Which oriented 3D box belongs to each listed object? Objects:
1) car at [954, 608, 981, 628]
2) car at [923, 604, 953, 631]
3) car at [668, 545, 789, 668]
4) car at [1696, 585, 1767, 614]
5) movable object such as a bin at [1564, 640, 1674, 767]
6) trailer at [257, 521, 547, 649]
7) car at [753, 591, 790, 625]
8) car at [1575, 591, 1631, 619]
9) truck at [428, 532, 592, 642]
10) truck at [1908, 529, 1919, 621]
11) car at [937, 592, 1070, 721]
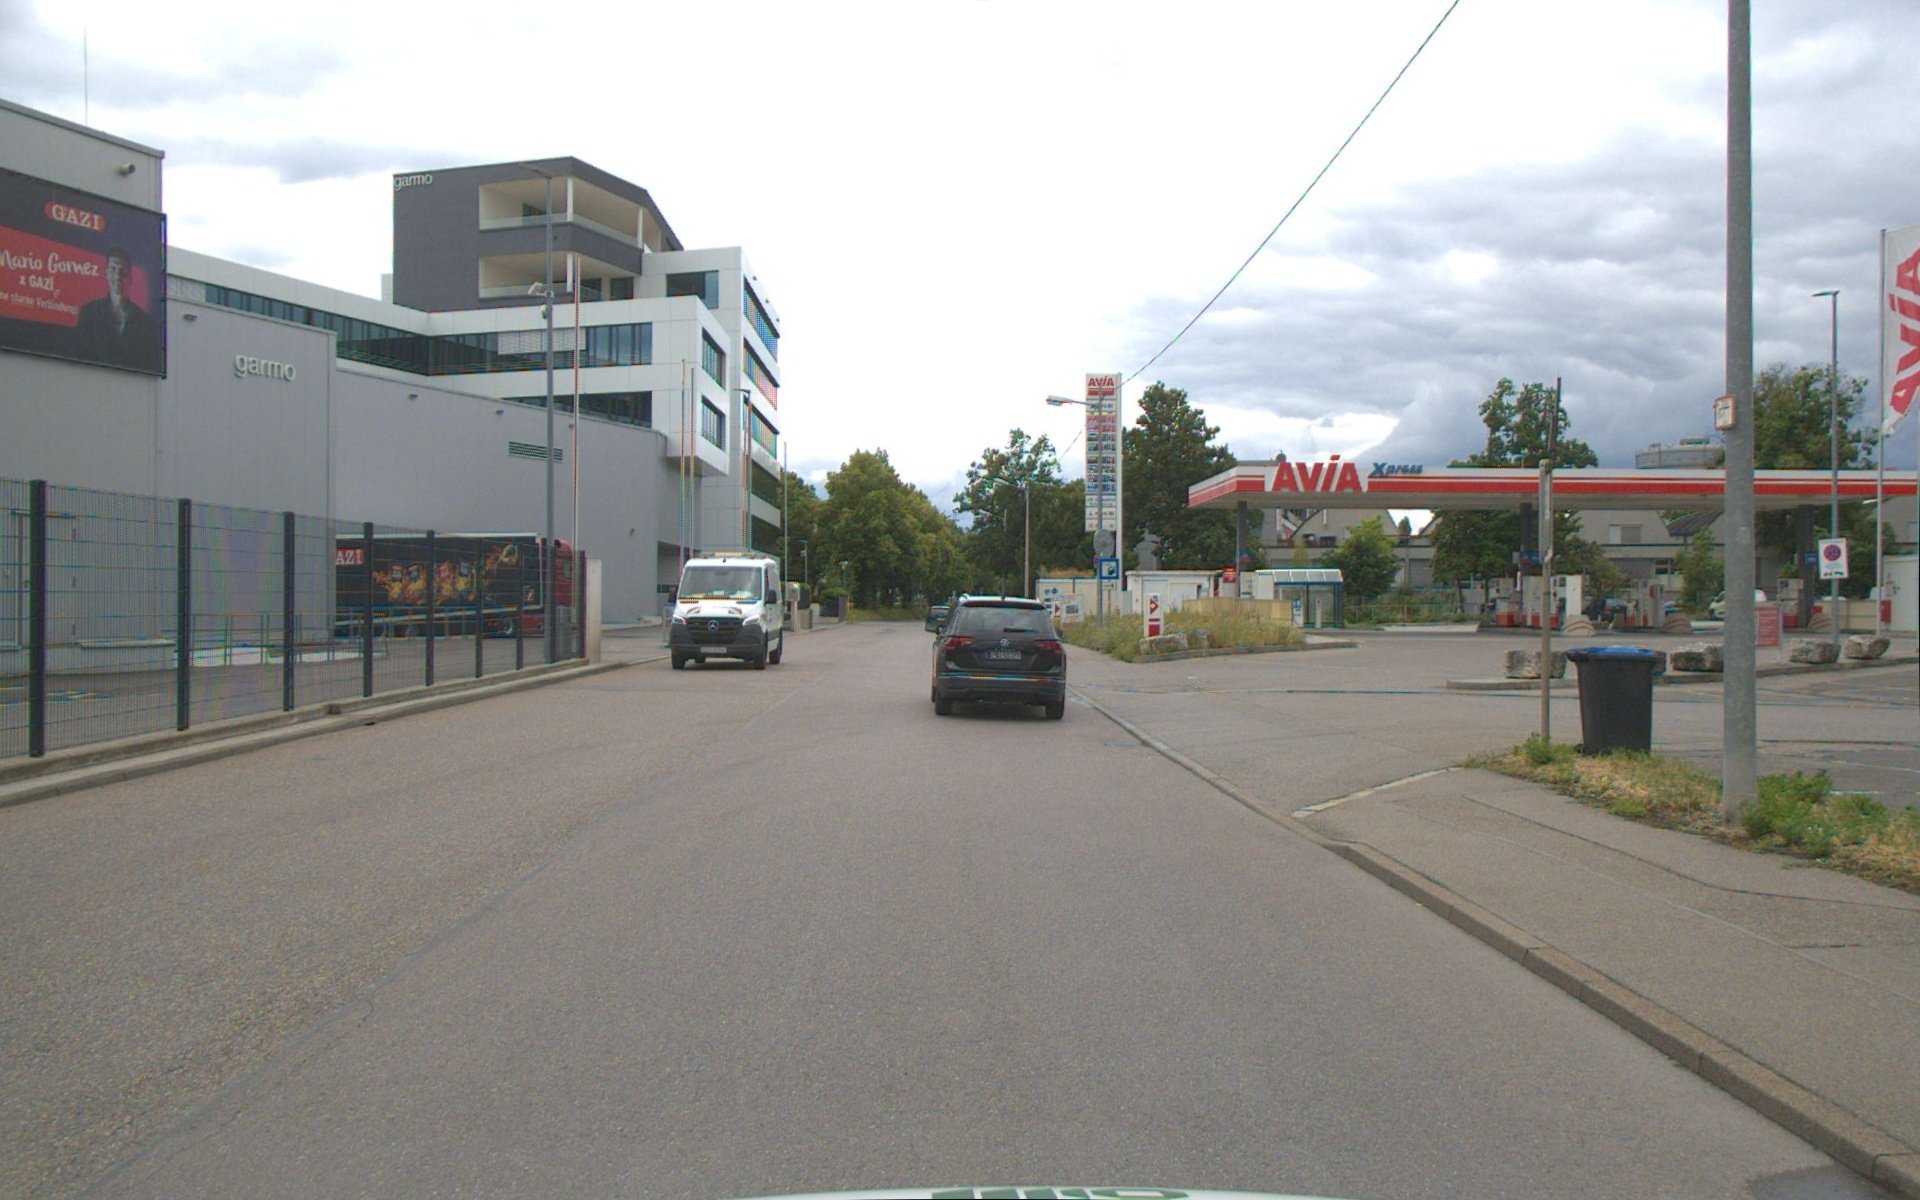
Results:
[{"bbox_3d":[0.704,1.666,153.610,1.951,1.818,4.003,1,0,8],"label":"car"},{"bbox_3d":[-1.380,1.102,103.643,1.801,1.645,3.999,0,0,-1],"label":"car"},{"bbox_3d":[-4.965,0.119,36.102,1.953,2.458,5.255,1,0,-1],"label":"car"},{"bbox_3d":[45.473,-0.018,97.562,1.922,1.674,4.652,-1,0,-2],"label":"car"},{"bbox_3d":[5.959,0.923,14.981,0.701,1.100,0.661,0,0,-8],"label":"movable object such as a bin"},{"bbox_3d":[-19.576,-0.507,59.449,2.685,4.101,12.621,0,0,19],"label":"trailer"},{"bbox_3d":[-10.271,0.434,90.322,1.616,1.792,3.179,1,0,1],"label":"car"},{"bbox_3d":[37.447,0.294,96.392,1.697,1.557,3.884,-1,0,0],"label":"car"},{"bbox_3d":[-17.603,-0.490,65.197,2.685,4.101,7.094,0,0,19],"label":"truck"},{"bbox_3d":[43.138,-1.111,69.555,2.897,3.983,6.038,-1,0,-2],"label":"truck"},{"bbox_3d":[0.615,0.758,23.548,1.703,1.646,3.641,2,-1,1],"label":"car"}]
